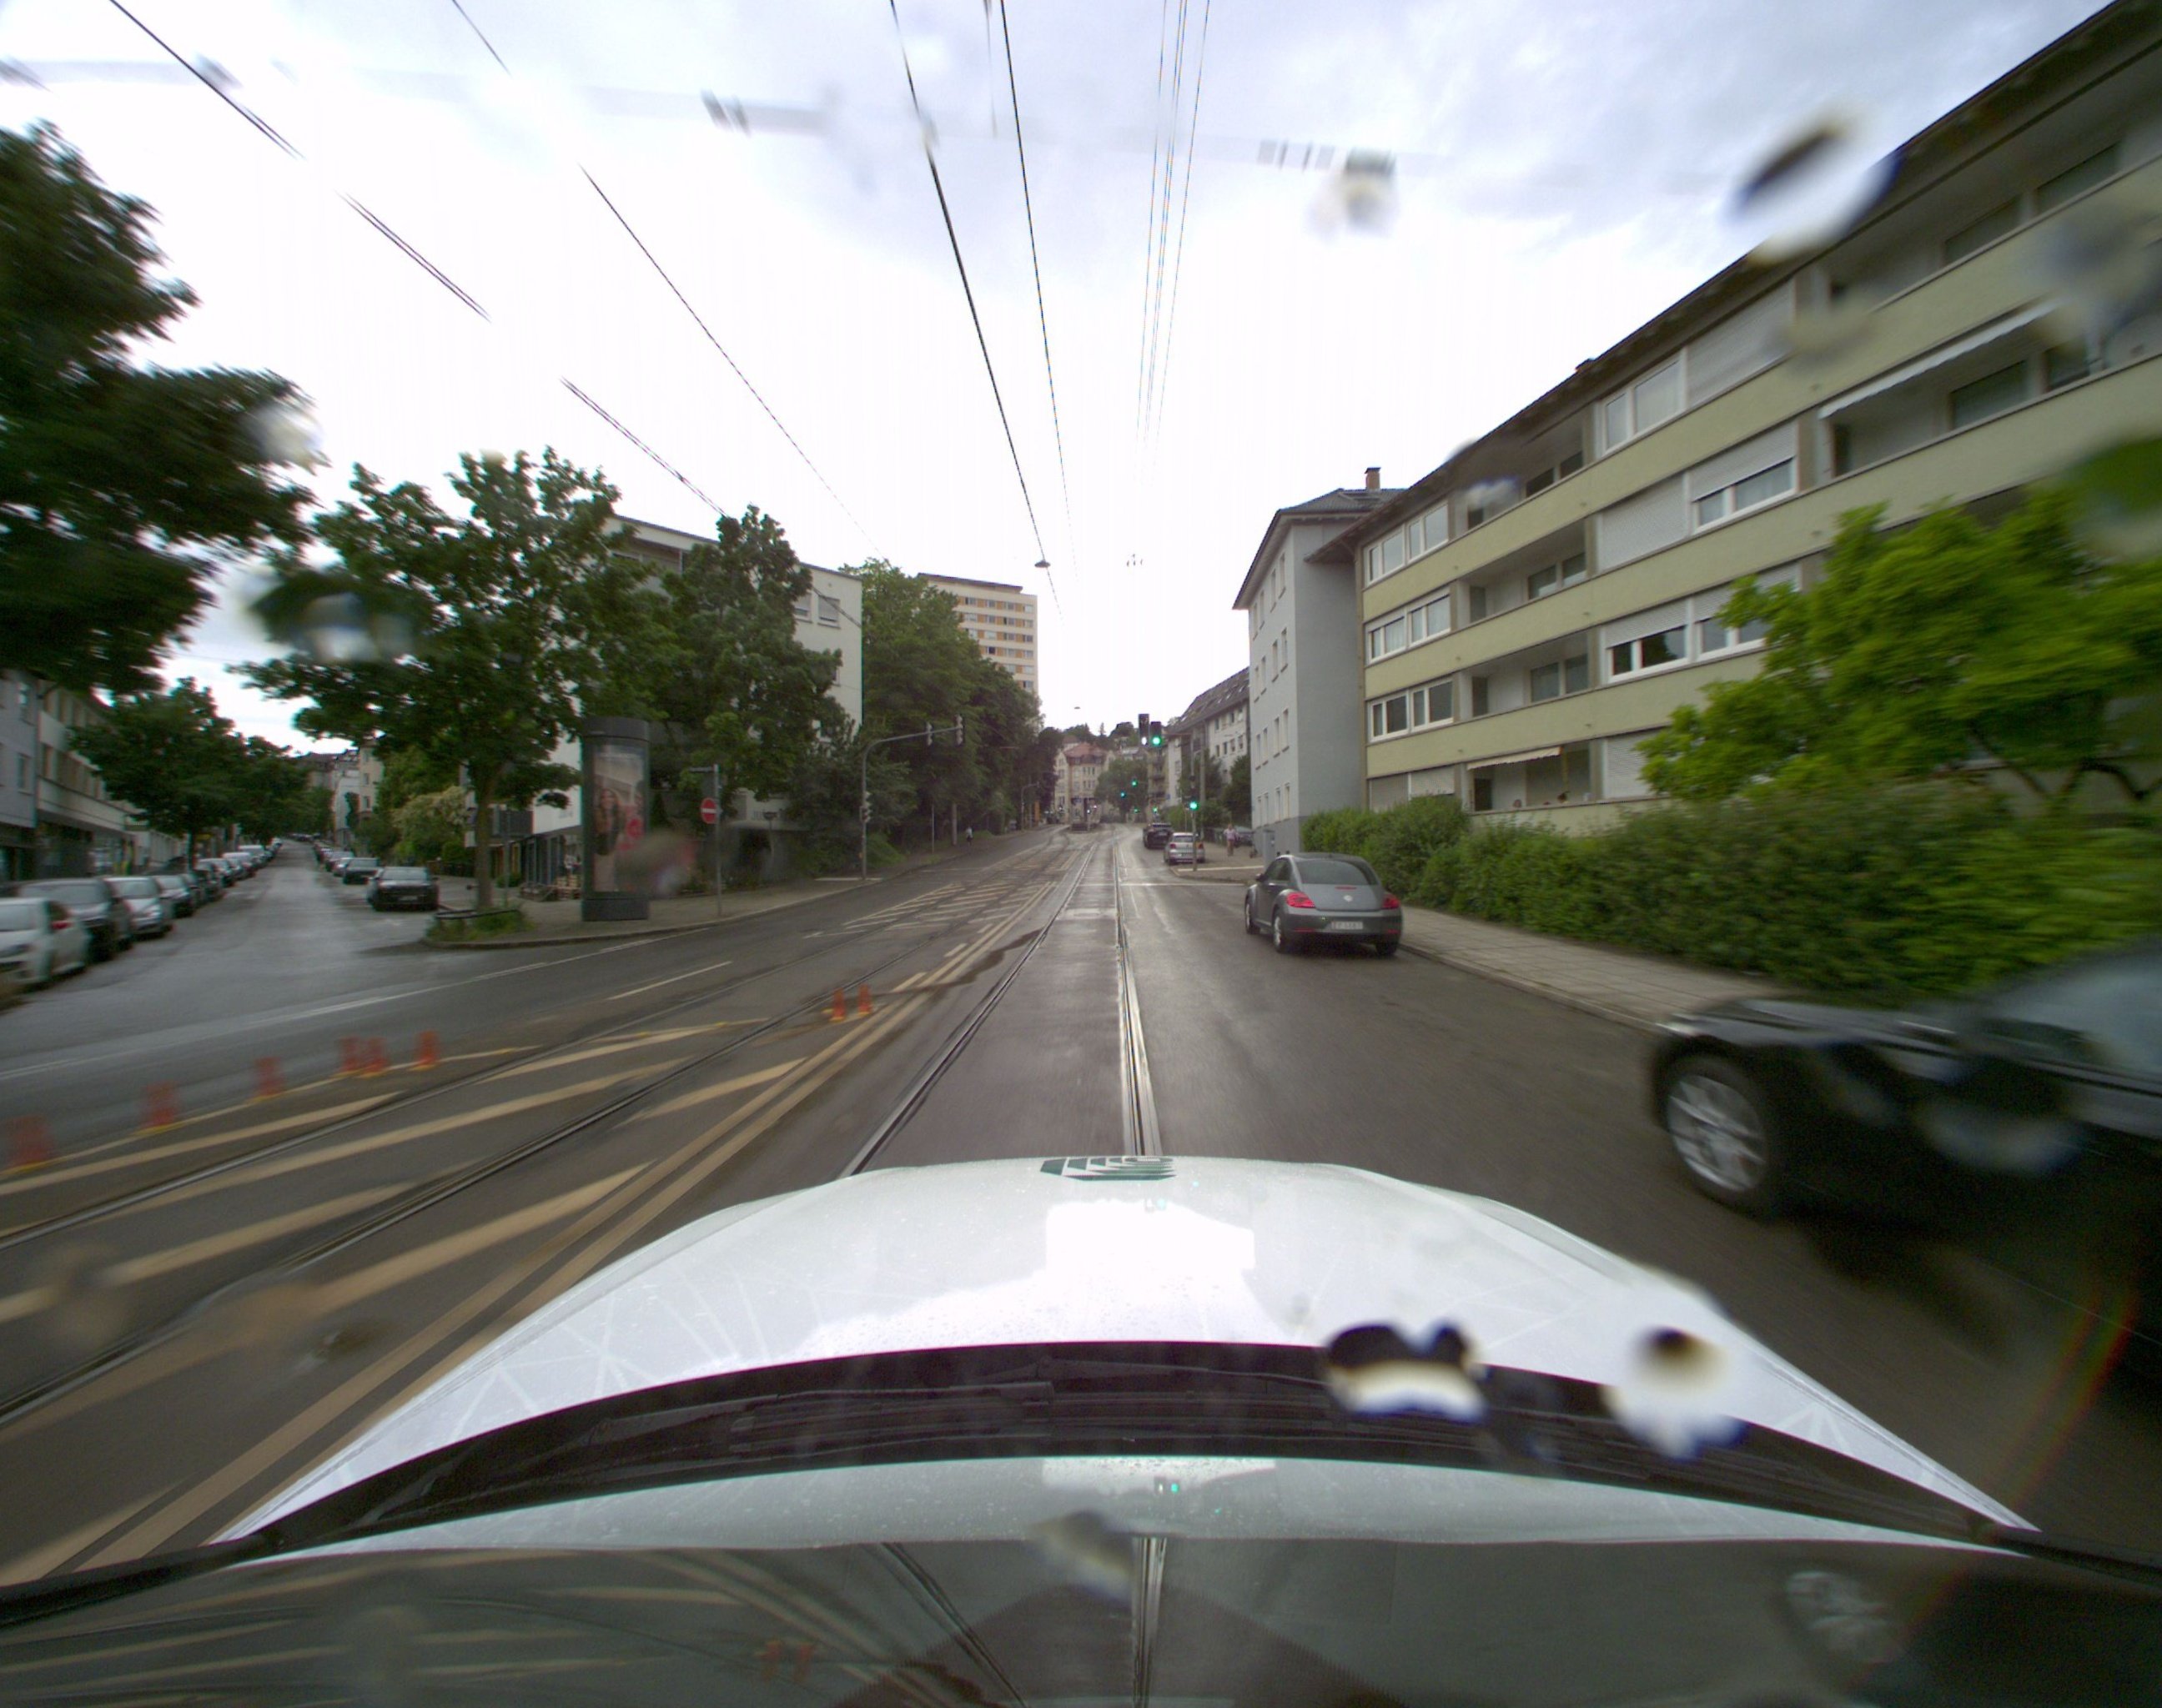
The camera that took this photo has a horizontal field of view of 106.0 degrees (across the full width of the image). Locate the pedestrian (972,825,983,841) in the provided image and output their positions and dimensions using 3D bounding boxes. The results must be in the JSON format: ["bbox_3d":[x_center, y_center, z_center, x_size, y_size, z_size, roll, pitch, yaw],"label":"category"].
[{"bbox_3d":[-11.101,-2.275,87.747,0.906,1.677,0.745,-1,-2,30],"label":"pedestrian"}]

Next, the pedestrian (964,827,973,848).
[{"bbox_3d":[-8.658,-1.278,62.606,0.581,1.600,0.869,1,1,-2],"label":"pedestrian"}]

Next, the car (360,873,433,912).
[{"bbox_3d":[-29.518,1.609,35.072,4.615,1.596,2.011,-2,-2,45],"label":"car"}]

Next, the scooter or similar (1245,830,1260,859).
[{"bbox_3d":[8.162,-0.472,38.849,0.571,1.249,1.614,0,4,7],"label":"scooter or similar"}]

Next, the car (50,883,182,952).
[{"bbox_3d":[-25.321,1.588,21.513,1.853,1.579,4.121,1,-2,-45],"label":"car"}]

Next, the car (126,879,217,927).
[{"bbox_3d":[-31.589,1.652,28.402,1.853,1.494,4.149,1,-2,-45],"label":"car"}]

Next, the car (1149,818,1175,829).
[{"bbox_3d":[13.026,-4.938,131.129,3.972,1.645,1.808,0,0,1],"label":"car"}]

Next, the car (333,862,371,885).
[{"bbox_3d":[-58.218,1.542,65.042,3.950,1.816,2.011,-2,-2,45],"label":"car"}]

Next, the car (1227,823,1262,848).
[{"bbox_3d":[11.351,-1.276,56.668,1.714,1.515,4.205,0,-1,2],"label":"car"}]

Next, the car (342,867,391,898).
[{"bbox_3d":[-44.716,1.752,50.916,3.950,1.860,2.011,-2,-2,45],"label":"car"}]

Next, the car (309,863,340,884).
[{"bbox_3d":[-72.067,1.870,77.582,3.950,2.014,2.011,-2,-2,45],"label":"car"}]

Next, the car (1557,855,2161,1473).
[{"bbox_3d":[3.533,0.748,2.193,1.851,1.487,4.645,0,0,1],"label":"car"}]

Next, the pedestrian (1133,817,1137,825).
[{"bbox_3d":[10.492,-6.324,157.669,0.577,1.467,0.543,0,-2,-6],"label":"pedestrian"}]

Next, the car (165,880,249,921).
[{"bbox_3d":[-35.285,1.843,32.984,1.902,1.530,3.952,1,-2,-42],"label":"car"}]

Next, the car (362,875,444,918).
[{"bbox_3d":[-25.736,1.550,30.881,3.950,1.518,2.011,-2,-2,45],"label":"car"}]

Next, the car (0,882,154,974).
[{"bbox_3d":[-21.720,1.483,17.628,1.853,1.706,4.583,1,-2,-45],"label":"car"}]

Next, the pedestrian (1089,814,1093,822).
[{"bbox_3d":[1.949,-6.876,155.559,0.654,1.467,0.773,-2,-2,4],"label":"pedestrian"}]

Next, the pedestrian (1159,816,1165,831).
[{"bbox_3d":[8.768,-3.296,88.319,0.641,1.628,0.700,-1,1,6],"label":"pedestrian"}]

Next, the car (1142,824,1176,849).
[{"bbox_3d":[5.205,-1.204,54.603,1.899,1.641,4.691,0,2,1],"label":"car"}]

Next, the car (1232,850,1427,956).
[{"bbox_3d":[3.840,0.683,13.409,1.933,1.464,4.206,0,0,0],"label":"car"}]

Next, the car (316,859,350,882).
[{"bbox_3d":[-66.169,1.469,71.982,3.950,2.014,2.011,-2,-2,45],"label":"car"}]

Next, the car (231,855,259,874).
[{"bbox_3d":[-89.924,1.174,87.681,3.950,2.014,2.011,-2,-2,45],"label":"car"}]

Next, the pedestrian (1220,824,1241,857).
[{"bbox_3d":[7.611,-0.698,41.501,0.878,1.582,0.802,-3,3,4],"label":"pedestrian"}]

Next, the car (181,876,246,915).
[{"bbox_3d":[-39.143,1.827,36.814,1.853,1.642,4.149,1,-2,-45],"label":"car"}]

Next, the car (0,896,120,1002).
[{"bbox_3d":[-17.724,1.487,13.349,2.011,1.481,4.110,1,-2,-42],"label":"car"}]

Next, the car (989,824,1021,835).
[{"bbox_3d":[-10.357,-3.302,110.833,3.951,1.406,1.692,-1,-2,24],"label":"car"}]

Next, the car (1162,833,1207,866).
[{"bbox_3d":[4.813,-0.248,38.356,1.698,1.433,4.103,0,2,1],"label":"car"}]
